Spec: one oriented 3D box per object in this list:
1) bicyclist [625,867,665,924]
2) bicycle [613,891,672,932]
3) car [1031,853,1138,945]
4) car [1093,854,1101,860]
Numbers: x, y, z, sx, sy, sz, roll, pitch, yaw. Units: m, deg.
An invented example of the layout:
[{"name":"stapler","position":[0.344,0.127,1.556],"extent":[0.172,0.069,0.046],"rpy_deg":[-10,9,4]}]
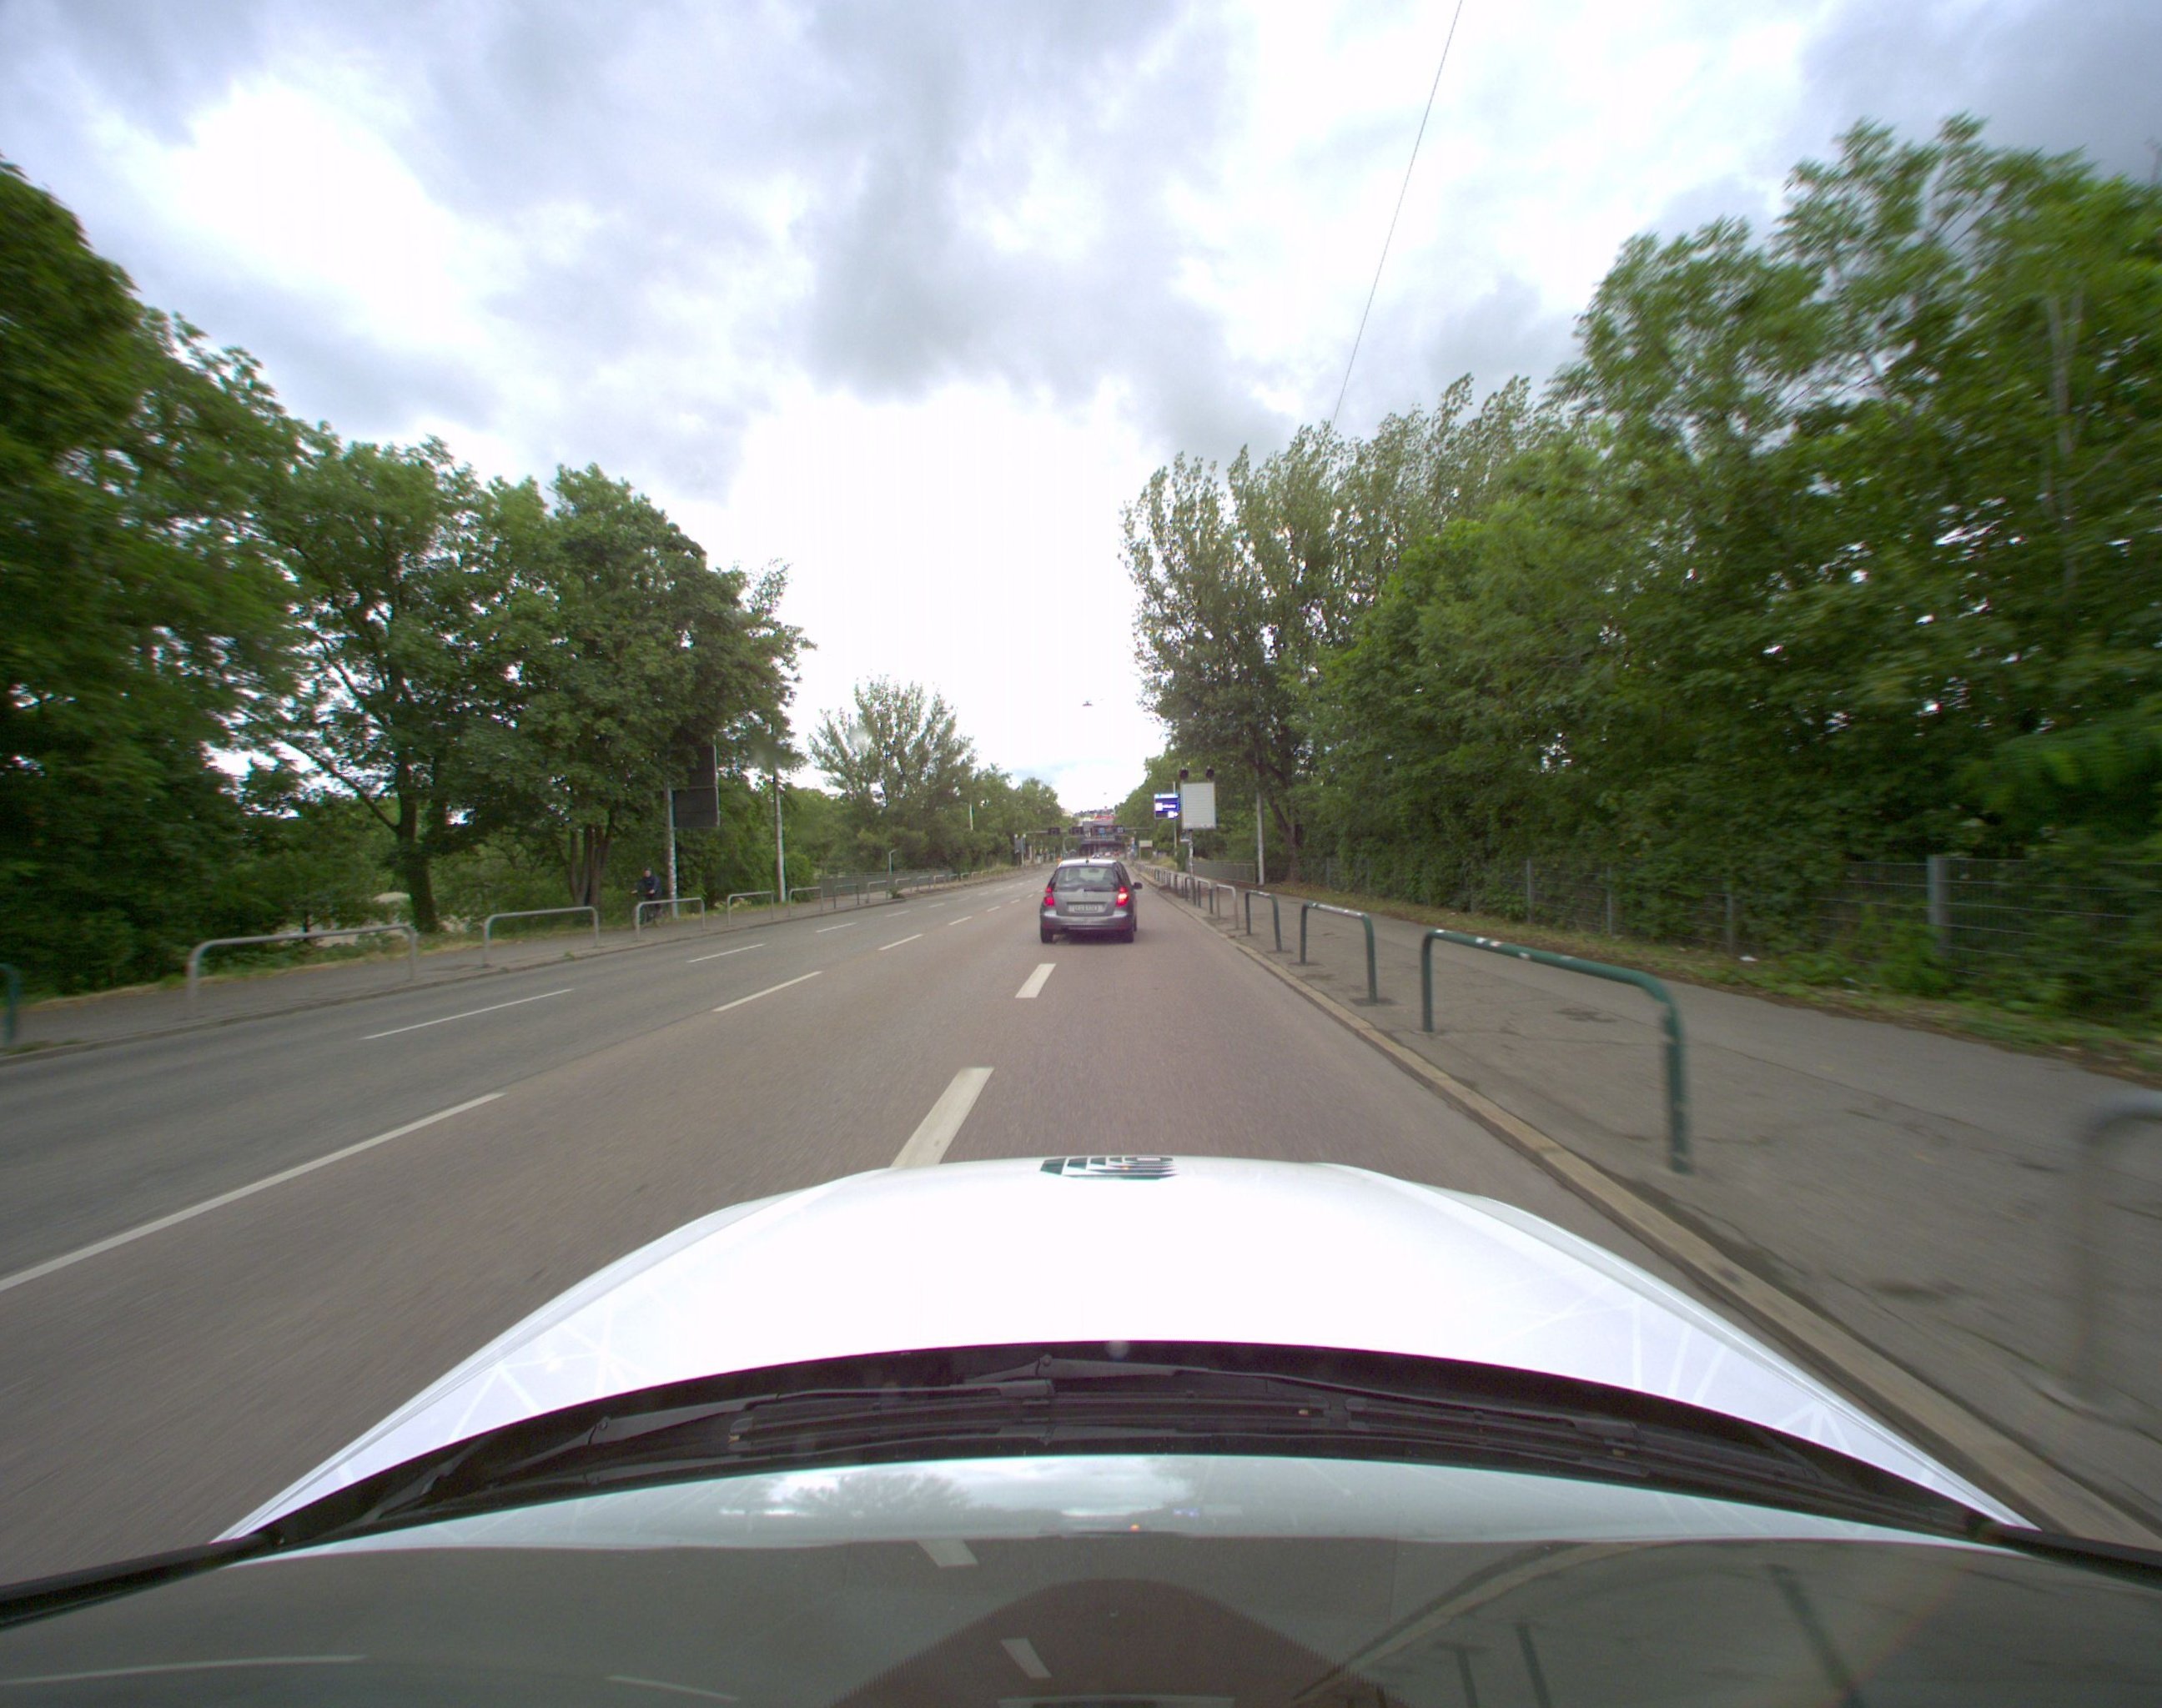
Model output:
[{"name":"bicyclist","position":[-12.204,1.140,22.797],"extent":[0.513,1.516,0.984],"rpy_deg":[-3,-1,1]},{"name":"bicycle","position":[-12.198,1.585,22.738],"extent":[0.483,1.002,2.002],"rpy_deg":[-3,0,1]},{"name":"car","position":[0.203,0.825,16.459],"extent":[1.818,1.616,4.039],"rpy_deg":[-1,-1,5]},{"name":"car","position":[4.701,0.919,243.700],"extent":[1.984,1.660,4.524],"rpy_deg":[-3,0,5]}]
